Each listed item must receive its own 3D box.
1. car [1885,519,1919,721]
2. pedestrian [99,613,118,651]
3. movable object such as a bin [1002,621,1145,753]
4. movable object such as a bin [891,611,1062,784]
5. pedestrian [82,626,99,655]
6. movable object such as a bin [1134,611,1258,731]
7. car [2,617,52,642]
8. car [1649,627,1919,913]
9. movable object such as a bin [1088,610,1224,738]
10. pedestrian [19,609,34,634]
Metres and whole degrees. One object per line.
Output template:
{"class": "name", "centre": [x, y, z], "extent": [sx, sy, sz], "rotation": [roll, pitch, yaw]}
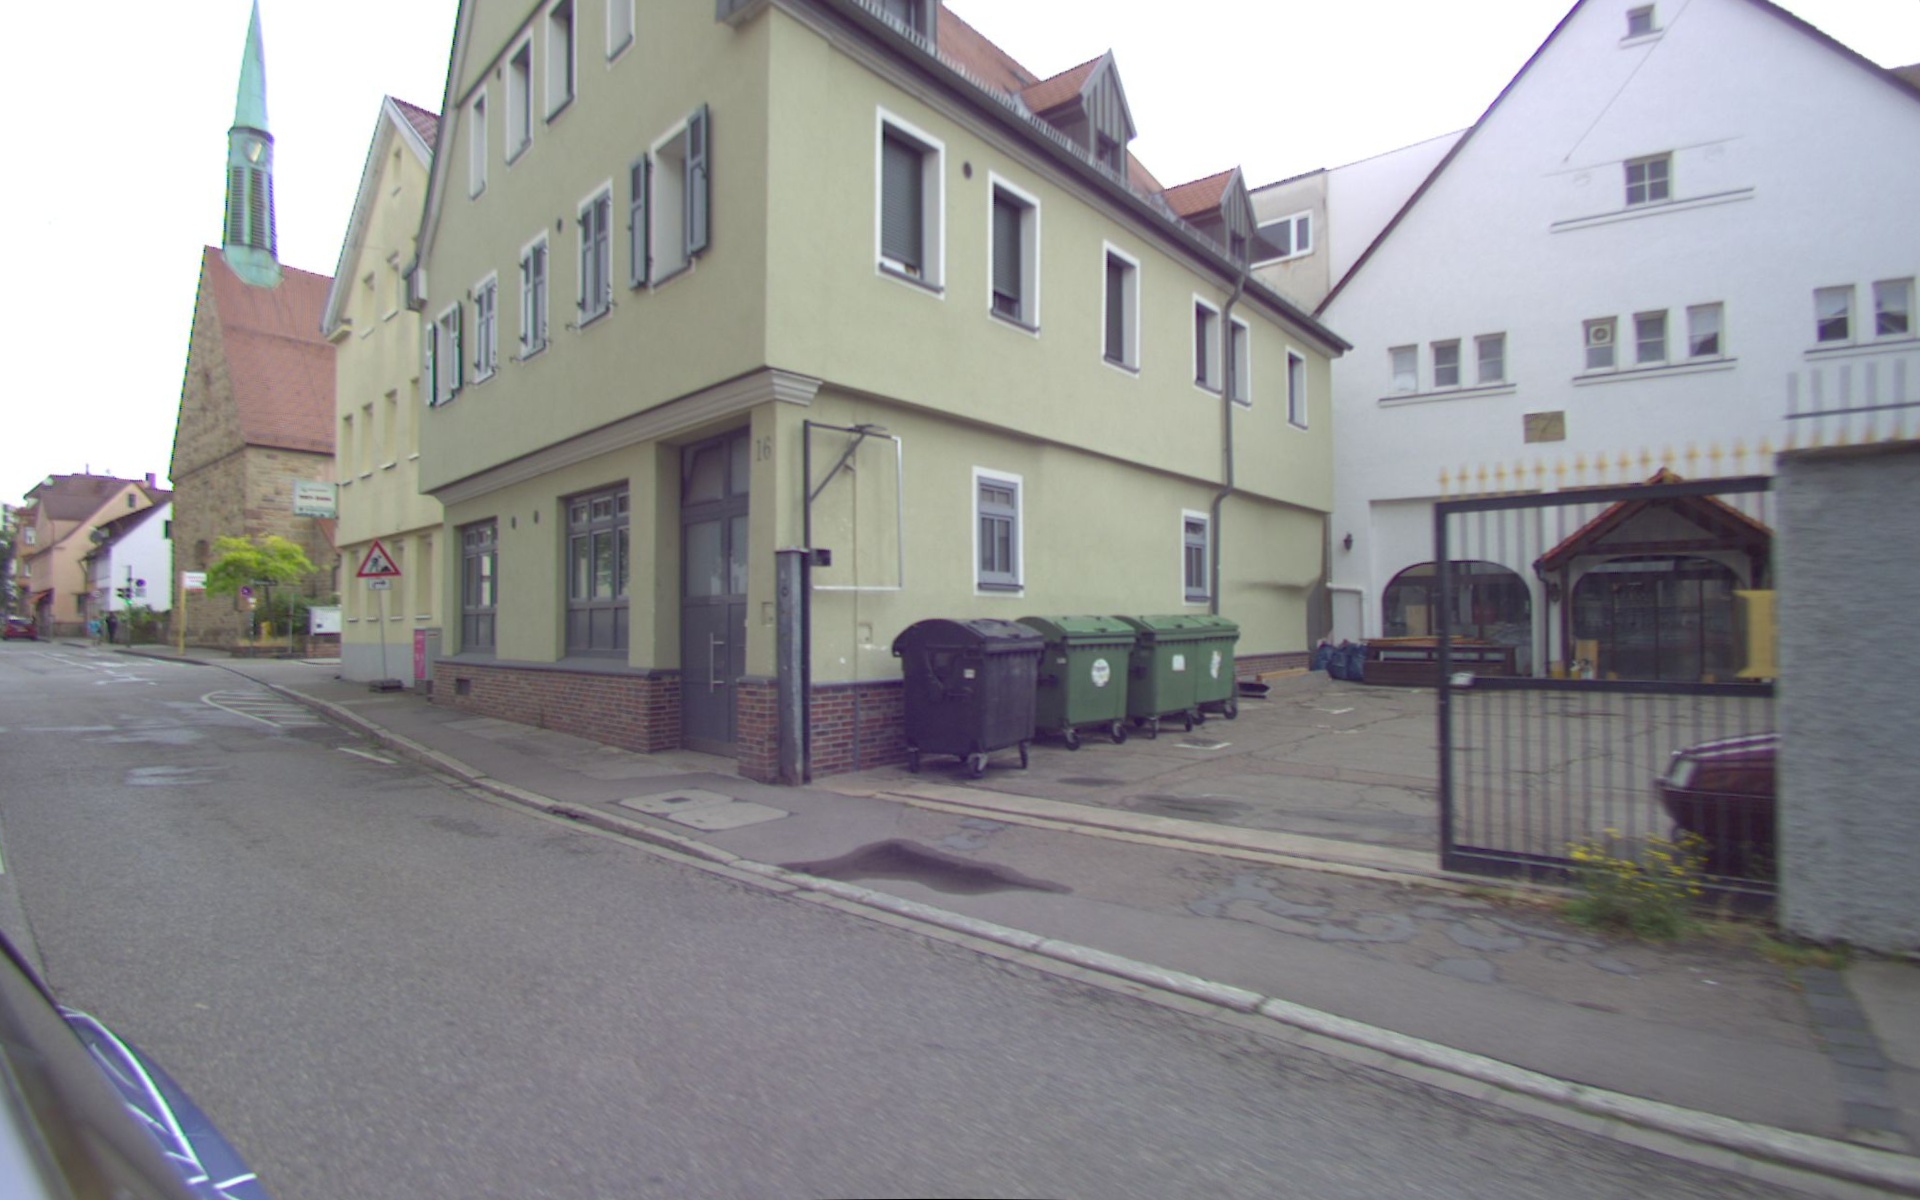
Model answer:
{"class": "car", "centre": [14.574, 0.240, 11.395], "extent": [5.839, 2.461, 1.977], "rotation": [-1, -2, 34]}
{"class": "pedestrian", "centre": [-47.681, 1.782, 56.674], "extent": [0.783, 2.137, 0.748], "rotation": [-2, -1, 44]}
{"class": "movable object such as a bin", "centre": [1.278, 0.923, 11.383], "extent": [1.228, 1.371, 1.060], "rotation": [1, -2, -43]}
{"class": "movable object such as a bin", "centre": [0.178, 0.859, 9.614], "extent": [1.097, 1.487, 1.296], "rotation": [-1, -1, 34]}
{"class": "pedestrian", "centre": [-48.280, 2.240, 56.208], "extent": [0.712, 1.618, 0.629], "rotation": [-1, -2, 44]}
{"class": "movable object such as a bin", "centre": [3.175, 0.900, 13.575], "extent": [1.100, 1.462, 1.325], "rotation": [2, 1, 41]}
{"class": "car", "centre": [-66.017, 2.093, 71.558], "extent": [4.498, 1.690, 2.183], "rotation": [-1, -2, 42]}
{"class": "car", "centre": [5.832, 0.796, 4.744], "extent": [4.250, 1.306, 1.823], "rotation": [-1, -2, 36]}
{"class": "movable object such as a bin", "centre": [2.414, 0.859, 12.411], "extent": [1.100, 1.460, 1.325], "rotation": [-2, -2, 42]}
{"class": "pedestrian", "centre": [-75.398, 1.741, 81.709], "extent": [0.845, 2.029, 0.825], "rotation": [-2, -2, 42]}
